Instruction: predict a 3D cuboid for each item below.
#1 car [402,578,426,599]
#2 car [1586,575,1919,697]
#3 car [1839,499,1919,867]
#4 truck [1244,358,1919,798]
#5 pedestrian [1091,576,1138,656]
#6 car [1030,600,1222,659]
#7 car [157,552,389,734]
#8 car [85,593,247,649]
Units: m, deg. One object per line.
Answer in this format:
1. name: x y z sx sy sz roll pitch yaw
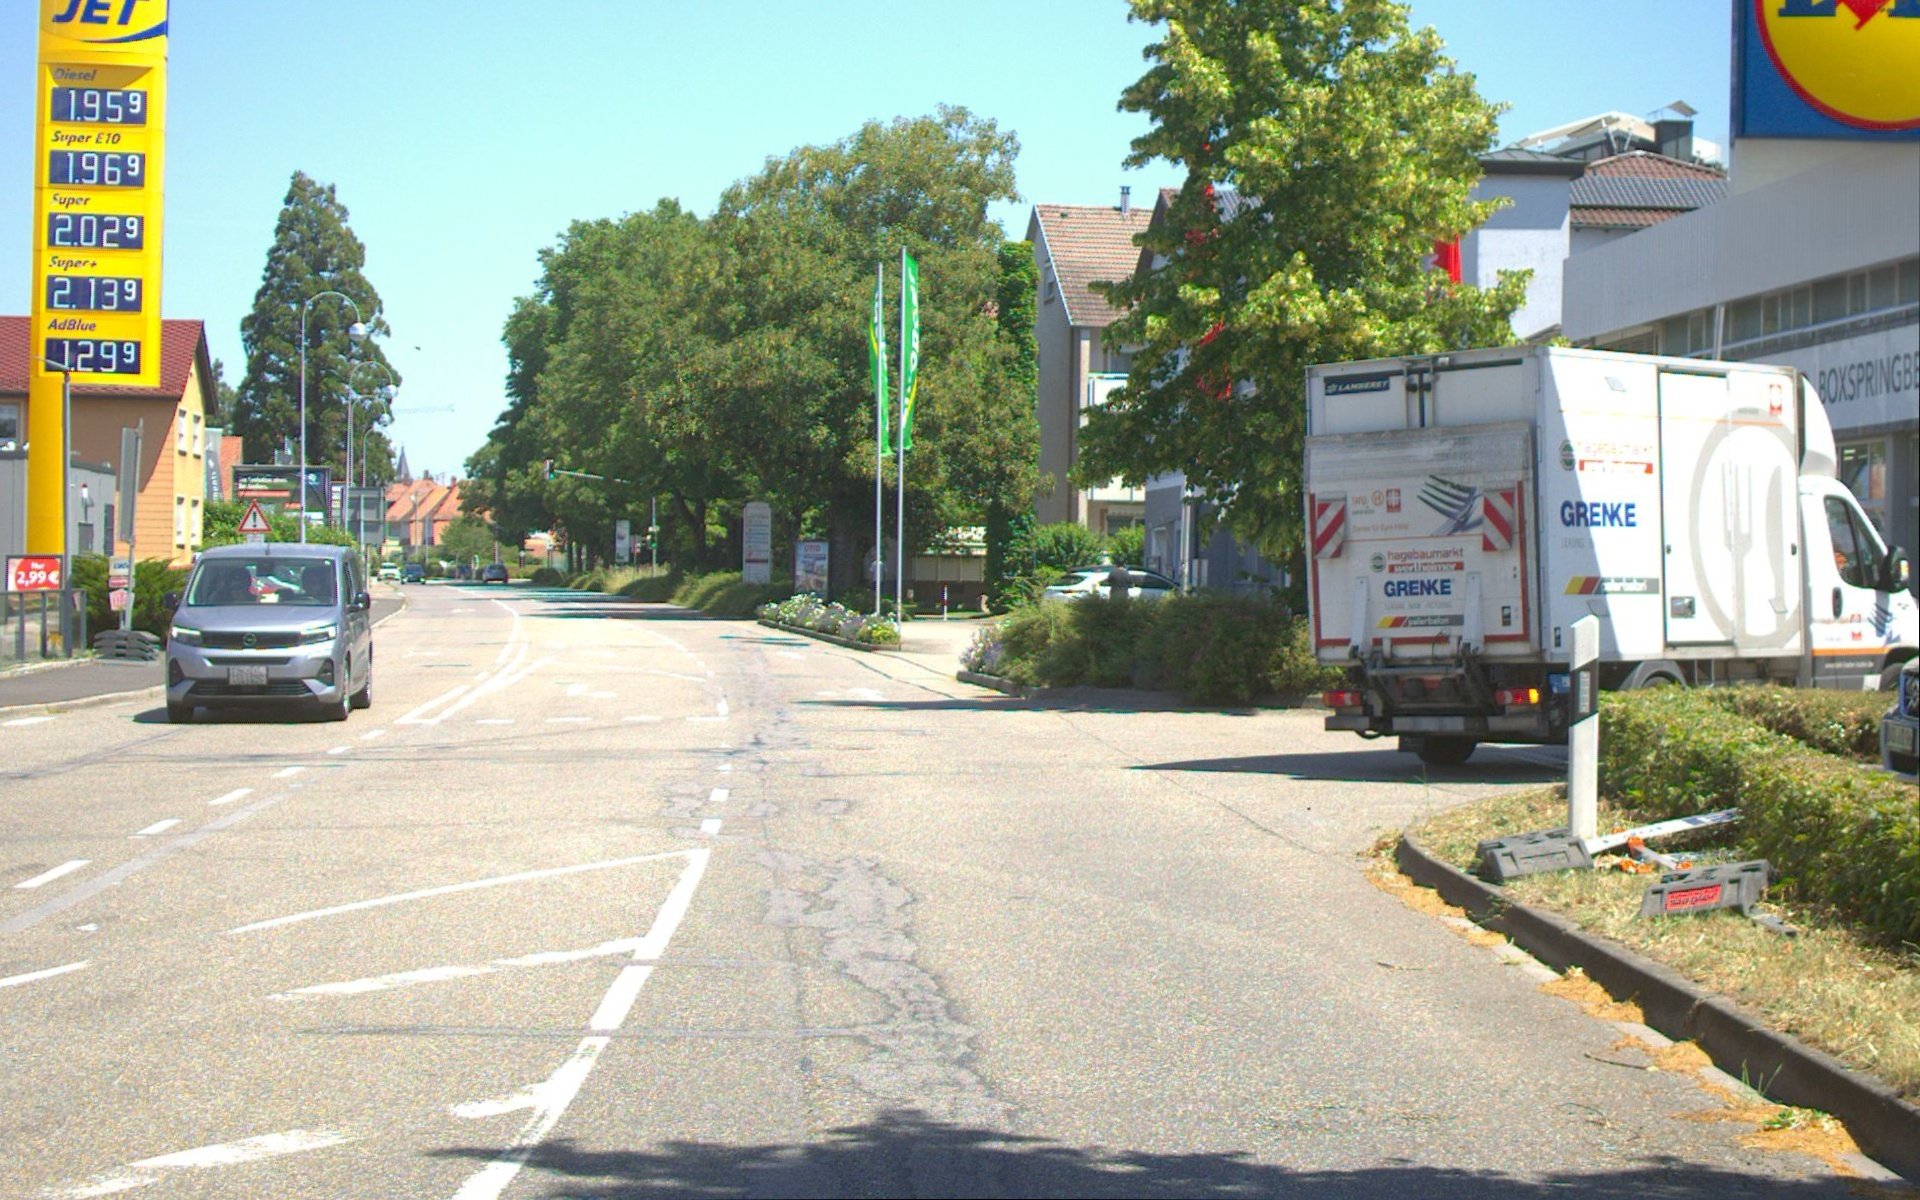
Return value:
1. car: -40.580 -0.873 255.595 1.709 1.490 4.278 1 0 -8
2. car: 9.857 0.444 42.810 3.988 1.455 1.804 0 -1 8
3. car: 6.608 0.416 16.036 4.514 1.662 1.894 1 0 2
4. truck: 4.978 -0.122 25.962 2.421 2.939 5.938 1 0 44
5. pedestrian: 3.180 0.333 70.906 0.840 1.636 1.010 1 -1 -3
6. car: 4.083 0.721 84.383 4.343 1.366 1.956 1 -1 -30
7. car: -7.089 0.425 35.842 1.795 1.766 4.365 1 0 -4
8. car: -21.515 0.582 93.299 4.125 1.439 1.827 1 -1 -8
